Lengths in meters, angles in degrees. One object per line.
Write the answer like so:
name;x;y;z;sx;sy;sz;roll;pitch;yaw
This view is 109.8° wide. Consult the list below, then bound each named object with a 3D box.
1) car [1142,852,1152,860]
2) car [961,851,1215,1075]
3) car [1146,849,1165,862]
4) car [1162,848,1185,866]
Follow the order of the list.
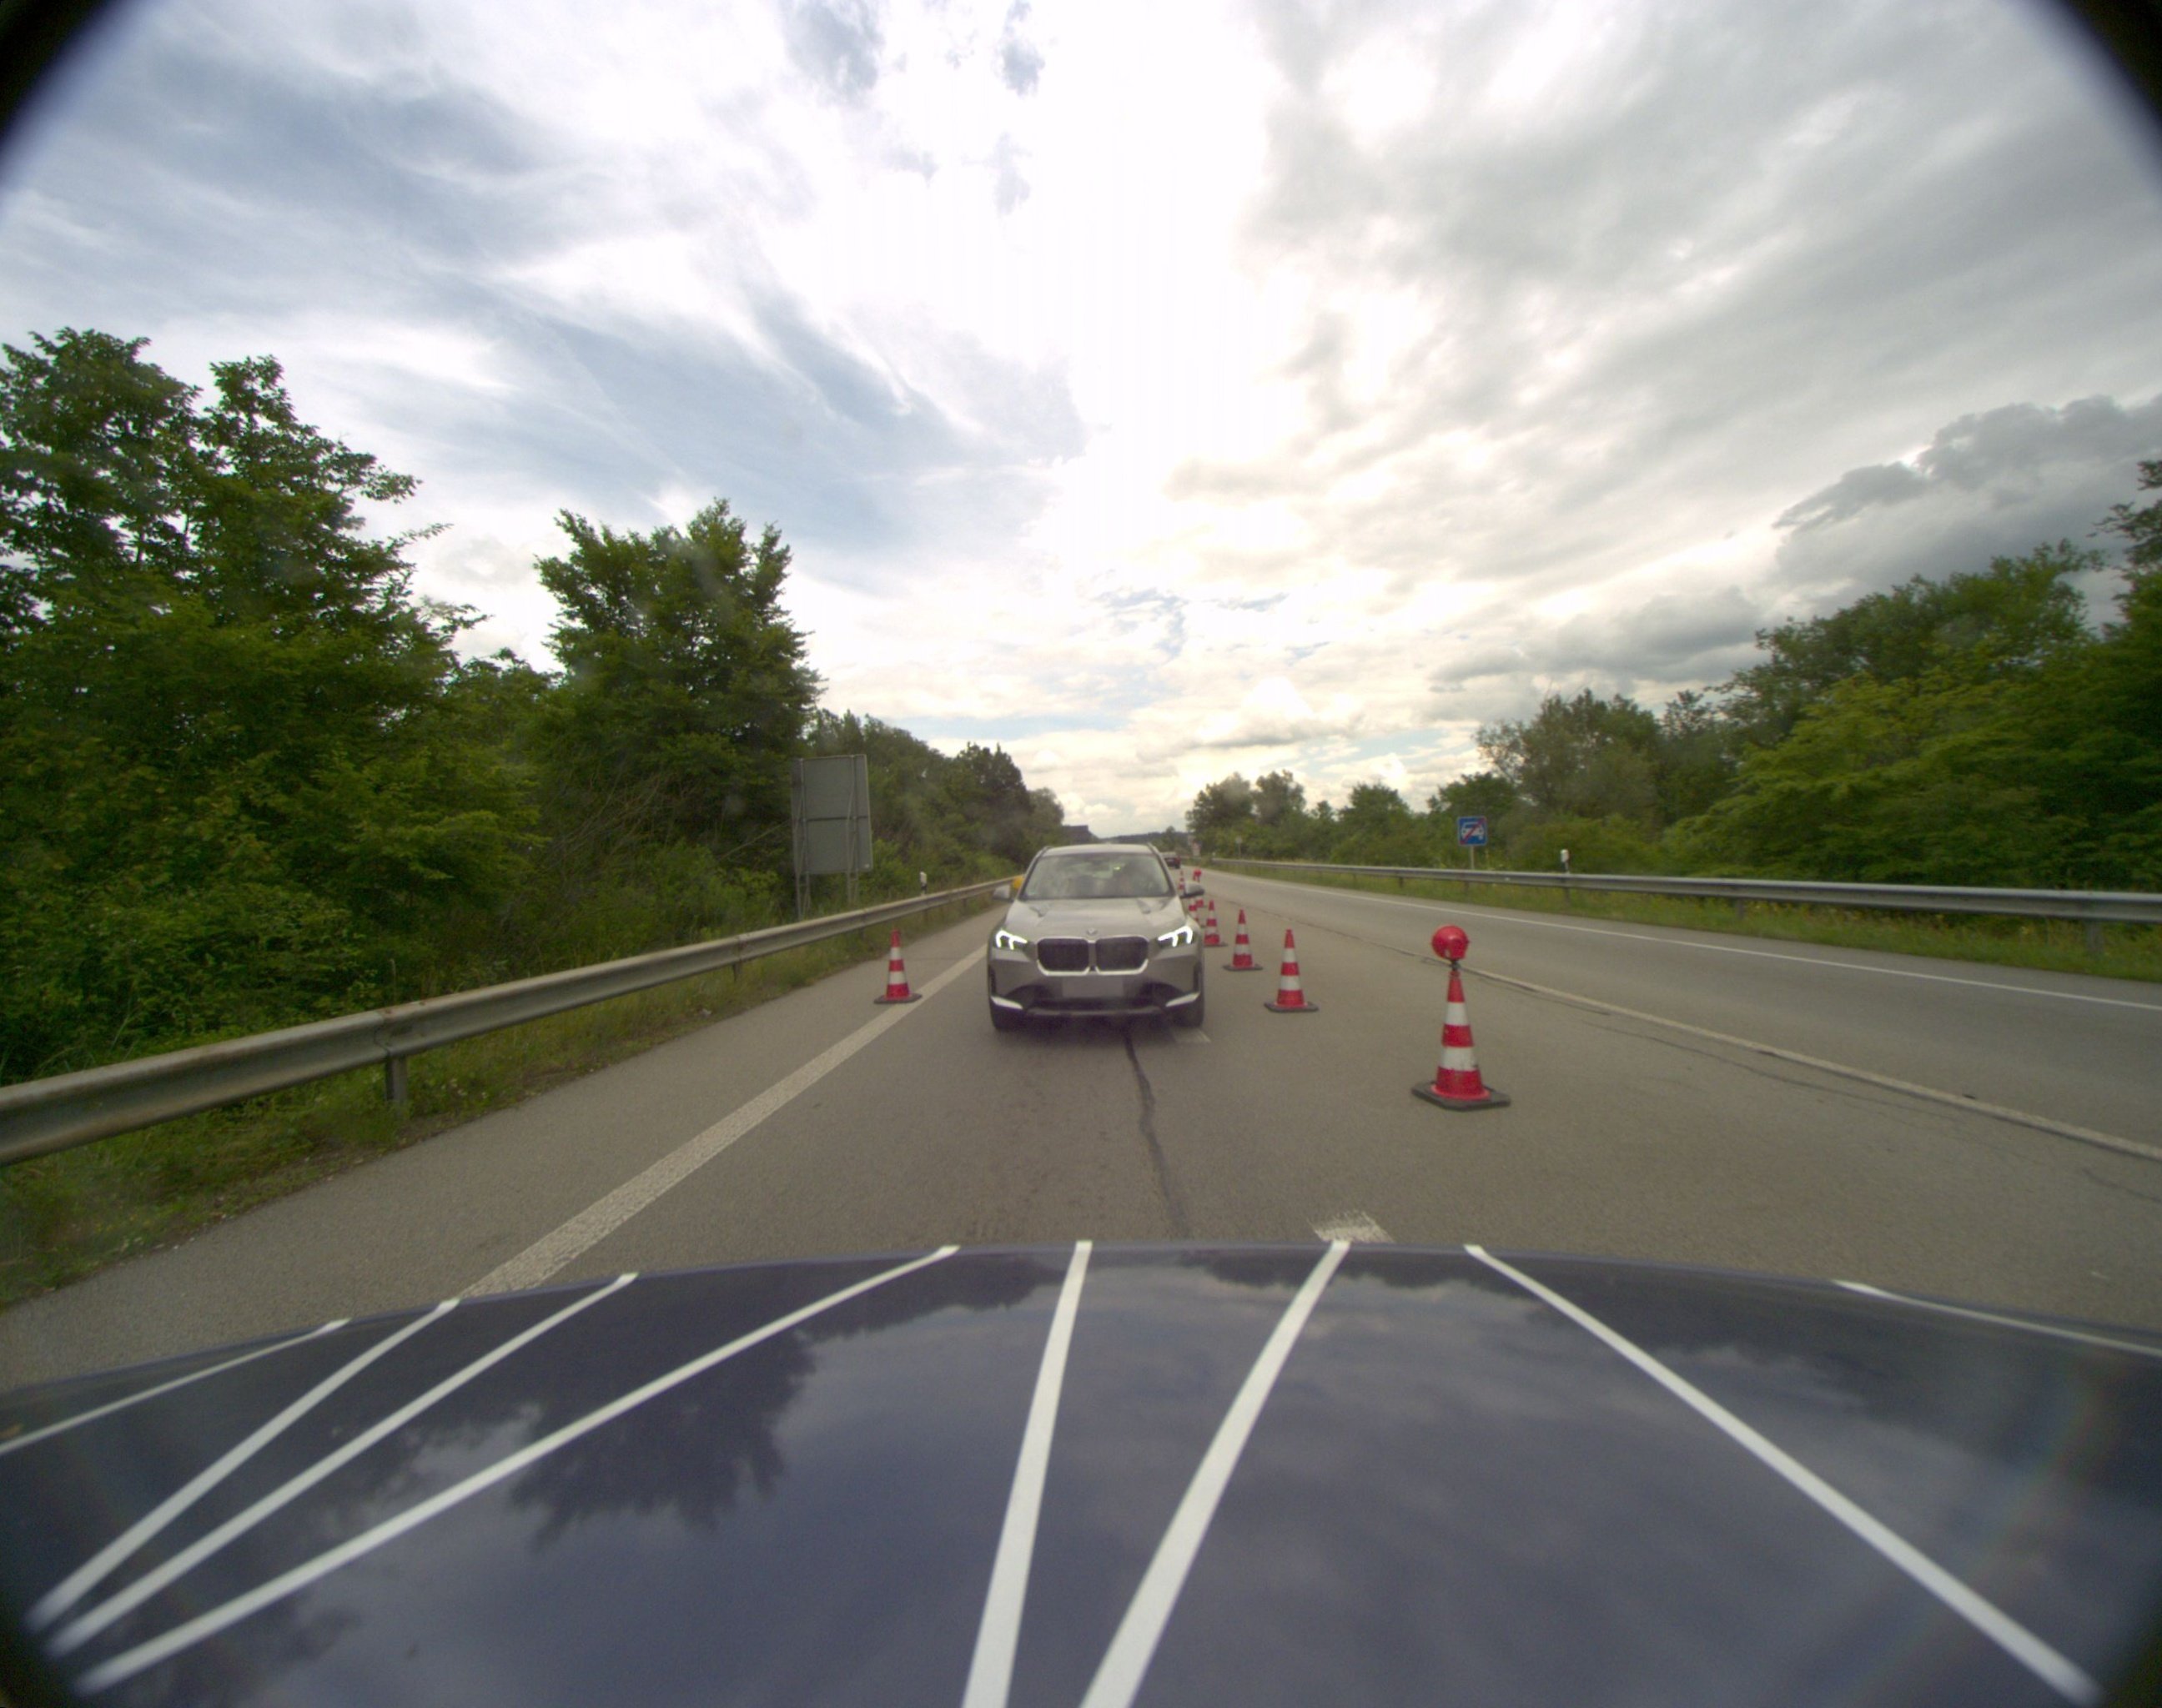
car;15.658;0.450;179.855;2.034;1.976;5.316;-2;0;3
car;0.172;0.802;7.802;1.817;1.598;4.434;-2;0;3
car;8.725;0.166;89.740;1.683;1.393;4.373;-2;0;-1
car;8.105;0.257;66.679;1.712;1.428;4.337;-2;0;4
